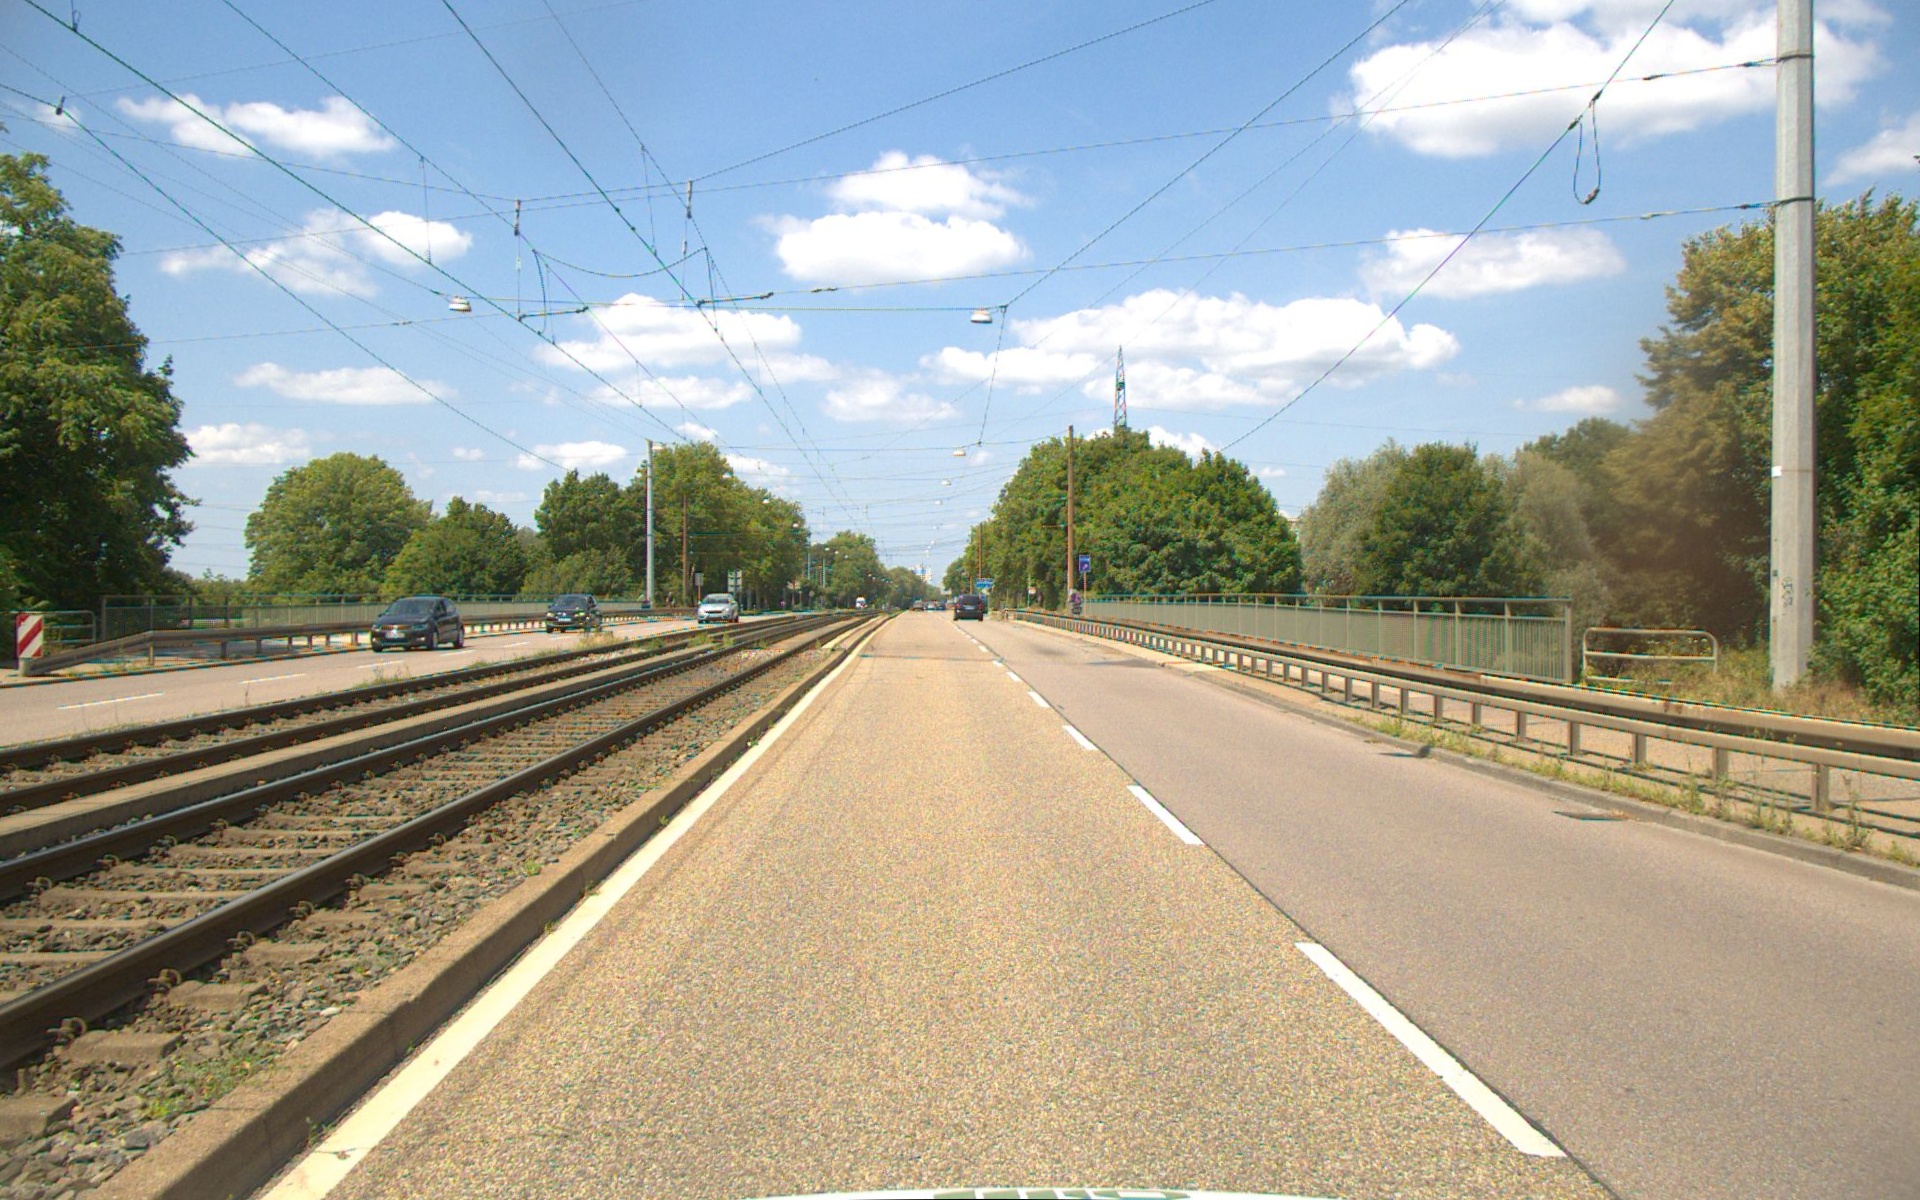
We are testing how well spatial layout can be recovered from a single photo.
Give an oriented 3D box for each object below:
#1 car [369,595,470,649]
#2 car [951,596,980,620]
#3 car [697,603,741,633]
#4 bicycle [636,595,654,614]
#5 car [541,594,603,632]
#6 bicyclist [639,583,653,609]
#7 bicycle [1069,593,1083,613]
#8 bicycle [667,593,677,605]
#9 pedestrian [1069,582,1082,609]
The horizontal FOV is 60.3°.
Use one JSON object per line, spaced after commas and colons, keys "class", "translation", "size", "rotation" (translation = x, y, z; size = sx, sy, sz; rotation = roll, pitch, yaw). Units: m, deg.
{"class": "car", "translation": [-14.732, 0.582, 45.267], "size": [1.531, 1.371, 3.928], "rotation": [-1, 0, -1]}
{"class": "car", "translation": [0.335, 0.480, 99.923], "size": [1.554, 1.366, 3.270], "rotation": [0, 0, -3]}
{"class": "car", "translation": [-12.309, 0.908, 84.739], "size": [1.676, 1.445, 4.623], "rotation": [-1, 0, -1]}
{"class": "bicycle", "translation": [-20.121, 0.280, 105.735], "size": [0.839, 1.206, 2.061], "rotation": [1, 0, -2]}
{"class": "car", "translation": [-14.969, 0.491, 63.973], "size": [1.542, 1.424, 3.936], "rotation": [0, 0, -2]}
{"class": "bicyclist", "translation": [-20.101, -0.267, 105.839], "size": [0.747, 1.650, 0.838], "rotation": [1, 0, -2]}
{"class": "bicycle", "translation": [6.056, 0.165, 86.635], "size": [0.548, 1.042, 1.847], "rotation": [0, 0, -1]}
{"class": "bicycle", "translation": [-20.424, -0.080, 117.327], "size": [0.512, 0.858, 2.034], "rotation": [2, 0, -4]}
{"class": "pedestrian", "translation": [6.050, -0.242, 86.707], "size": [0.615, 1.398, 1.050], "rotation": [0, 0, -1]}
